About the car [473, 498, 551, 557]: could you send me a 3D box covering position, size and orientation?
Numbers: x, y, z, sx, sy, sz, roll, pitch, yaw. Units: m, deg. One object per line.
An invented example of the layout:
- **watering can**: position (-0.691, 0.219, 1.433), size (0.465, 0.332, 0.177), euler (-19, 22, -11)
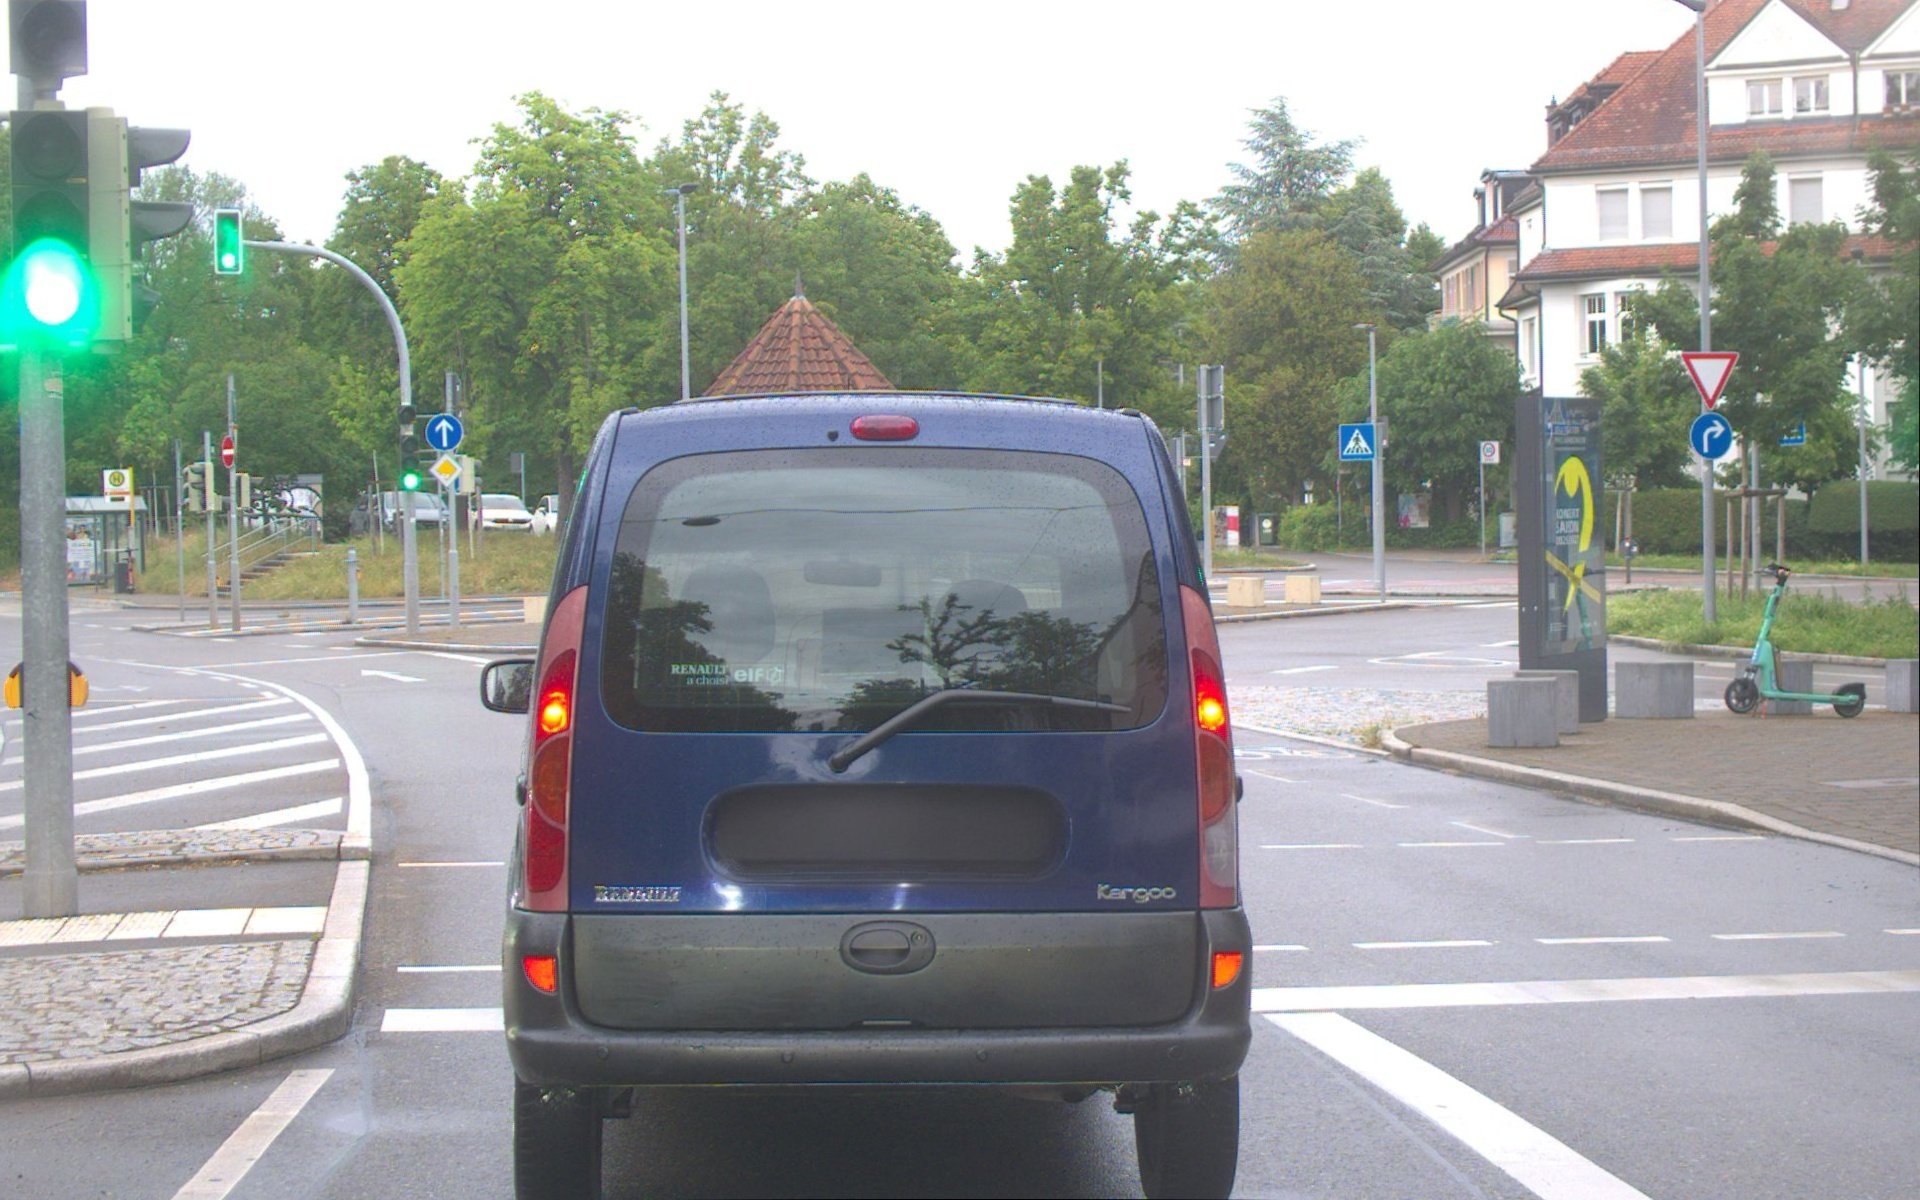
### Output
- **car**: position (-14.286, -2.291, 109.879), size (1.993, 1.806, 4.000), euler (0, 0, -1)

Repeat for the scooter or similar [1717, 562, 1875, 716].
- **scooter or similar**: position (6.720, 0.311, 27.650), size (1.149, 1.215, 0.406), euler (-1, 0, -1)

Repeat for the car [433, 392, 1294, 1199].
- **car**: position (-0.275, 0.432, 8.925), size (1.731, 1.780, 4.001), euler (0, 1, -2)
